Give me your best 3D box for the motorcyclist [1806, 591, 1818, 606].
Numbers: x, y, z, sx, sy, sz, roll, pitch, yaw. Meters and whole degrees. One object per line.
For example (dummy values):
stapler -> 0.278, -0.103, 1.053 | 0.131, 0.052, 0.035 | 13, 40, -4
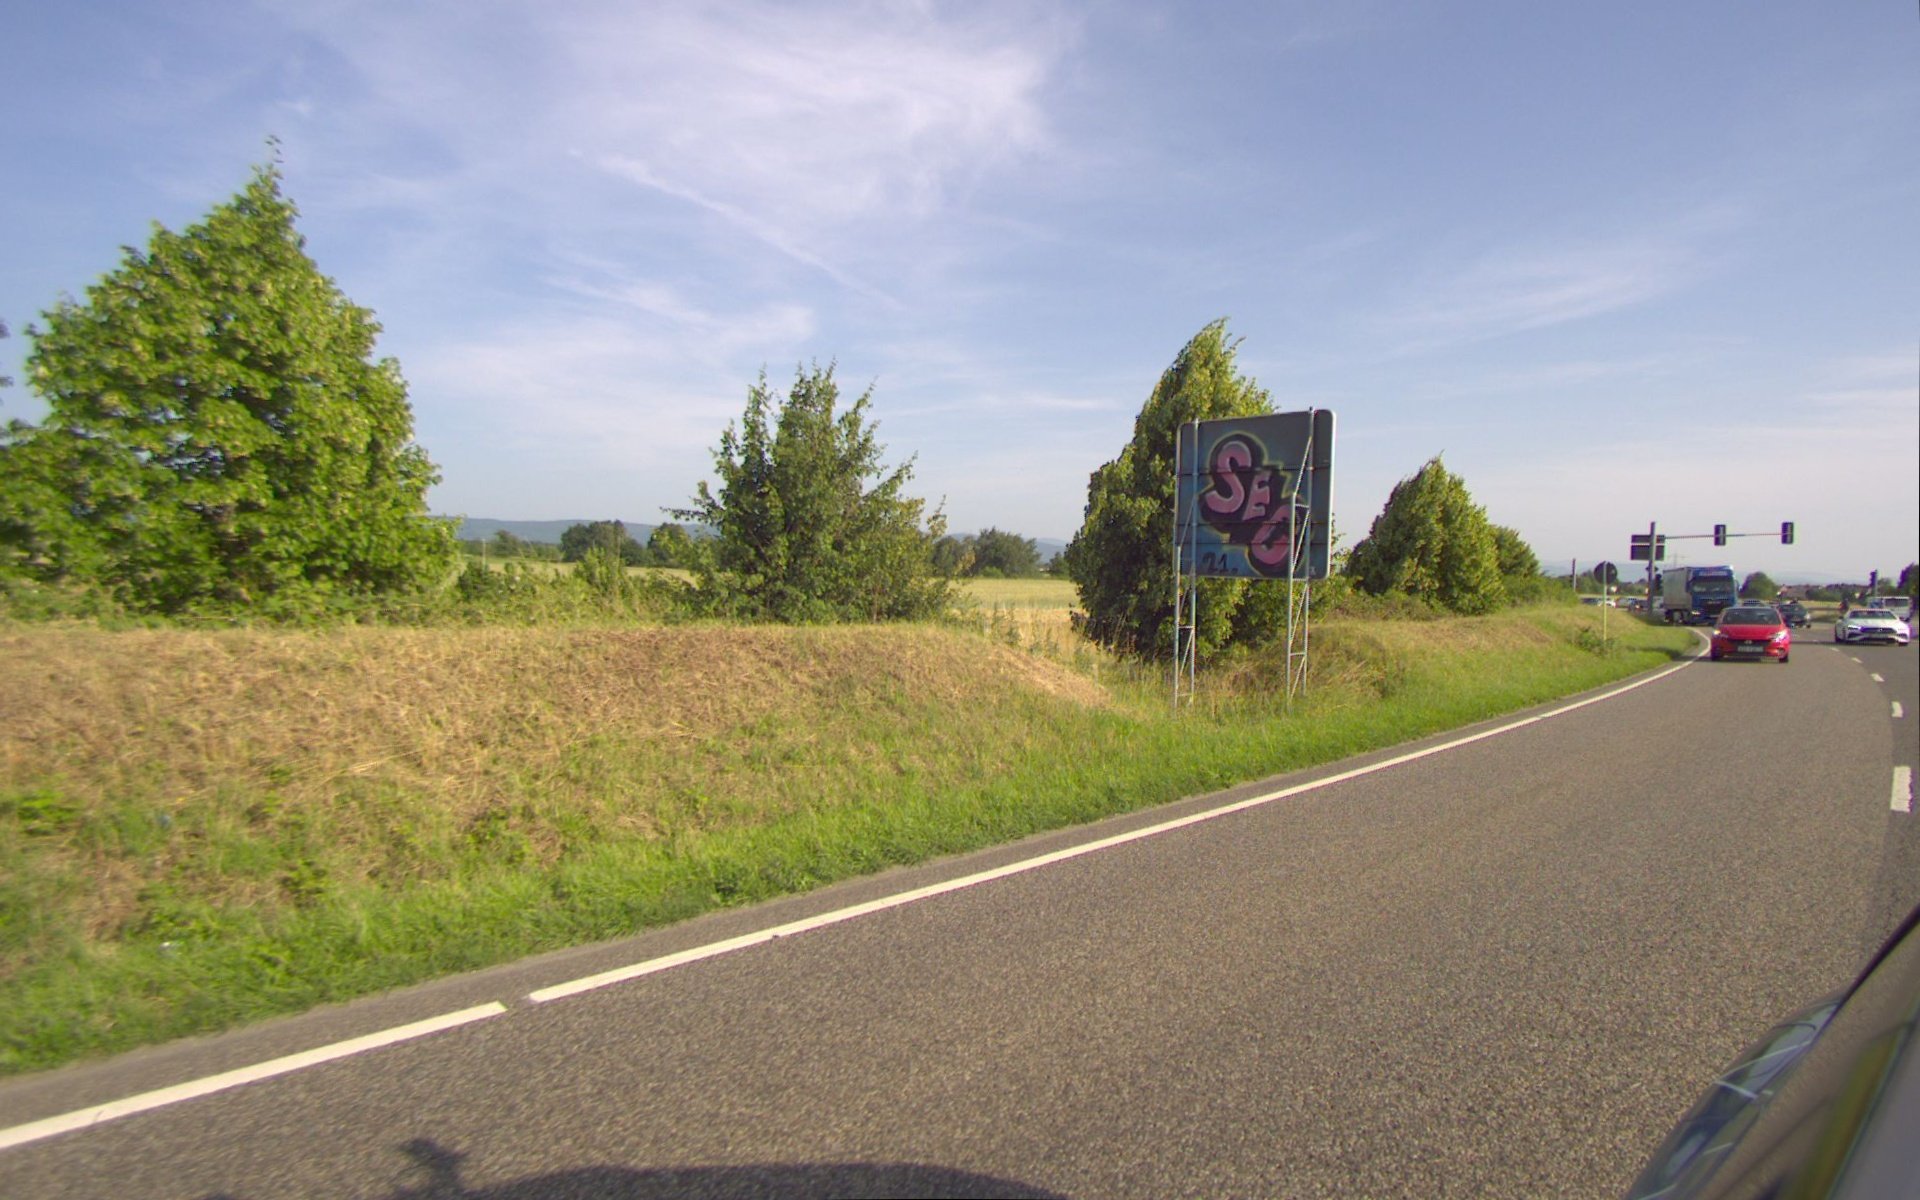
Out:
motorcyclist -> 88.755, -0.134, 105.419 | 0.693, 1.522, 0.887 | 1, 0, 28

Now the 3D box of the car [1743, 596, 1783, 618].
car -> 59.035, 0.483, 74.470 | 1.818, 1.549, 3.955 | 1, 1, 31

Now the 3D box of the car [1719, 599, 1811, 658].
car -> 22.281, 0.727, 27.975 | 1.661, 1.482, 3.893 | 1, 1, 44

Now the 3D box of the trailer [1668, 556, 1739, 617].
trailer -> 53.607, -0.982, 73.266 | 2.631, 4.029, 13.781 | 0, 0, 30

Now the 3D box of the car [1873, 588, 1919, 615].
car -> 70.833, 0.096, 76.115 | 1.983, 1.927, 5.728 | 1, 1, 30

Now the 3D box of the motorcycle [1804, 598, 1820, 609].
motorcycle -> 88.767, 0.368, 105.443 | 0.696, 1.152, 2.257 | 1, 0, 26

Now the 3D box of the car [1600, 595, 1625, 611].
car -> 84.210, 0.349, 130.608 | 1.978, 1.905, 3.969 | 1, 1, 23

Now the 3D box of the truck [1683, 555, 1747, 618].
truck -> 50.248, -0.881, 67.495 | 2.630, 3.969, 5.888 | 0, 0, 30

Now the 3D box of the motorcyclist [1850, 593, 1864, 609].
motorcyclist -> 83.399, 0.106, 94.116 | 0.700, 1.483, 1.011 | 0, 0, 26

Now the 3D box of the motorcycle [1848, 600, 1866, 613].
motorcycle -> 83.352, 0.592, 94.044 | 0.703, 1.173, 2.005 | 0, 0, 26

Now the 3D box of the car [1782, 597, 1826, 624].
car -> 52.100, 0.636, 62.531 | 1.741, 1.549, 3.950 | 1, 1, 35

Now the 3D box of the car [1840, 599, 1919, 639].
car -> 35.849, 0.693, 39.420 | 1.864, 1.415, 4.153 | 1, 1, 34
